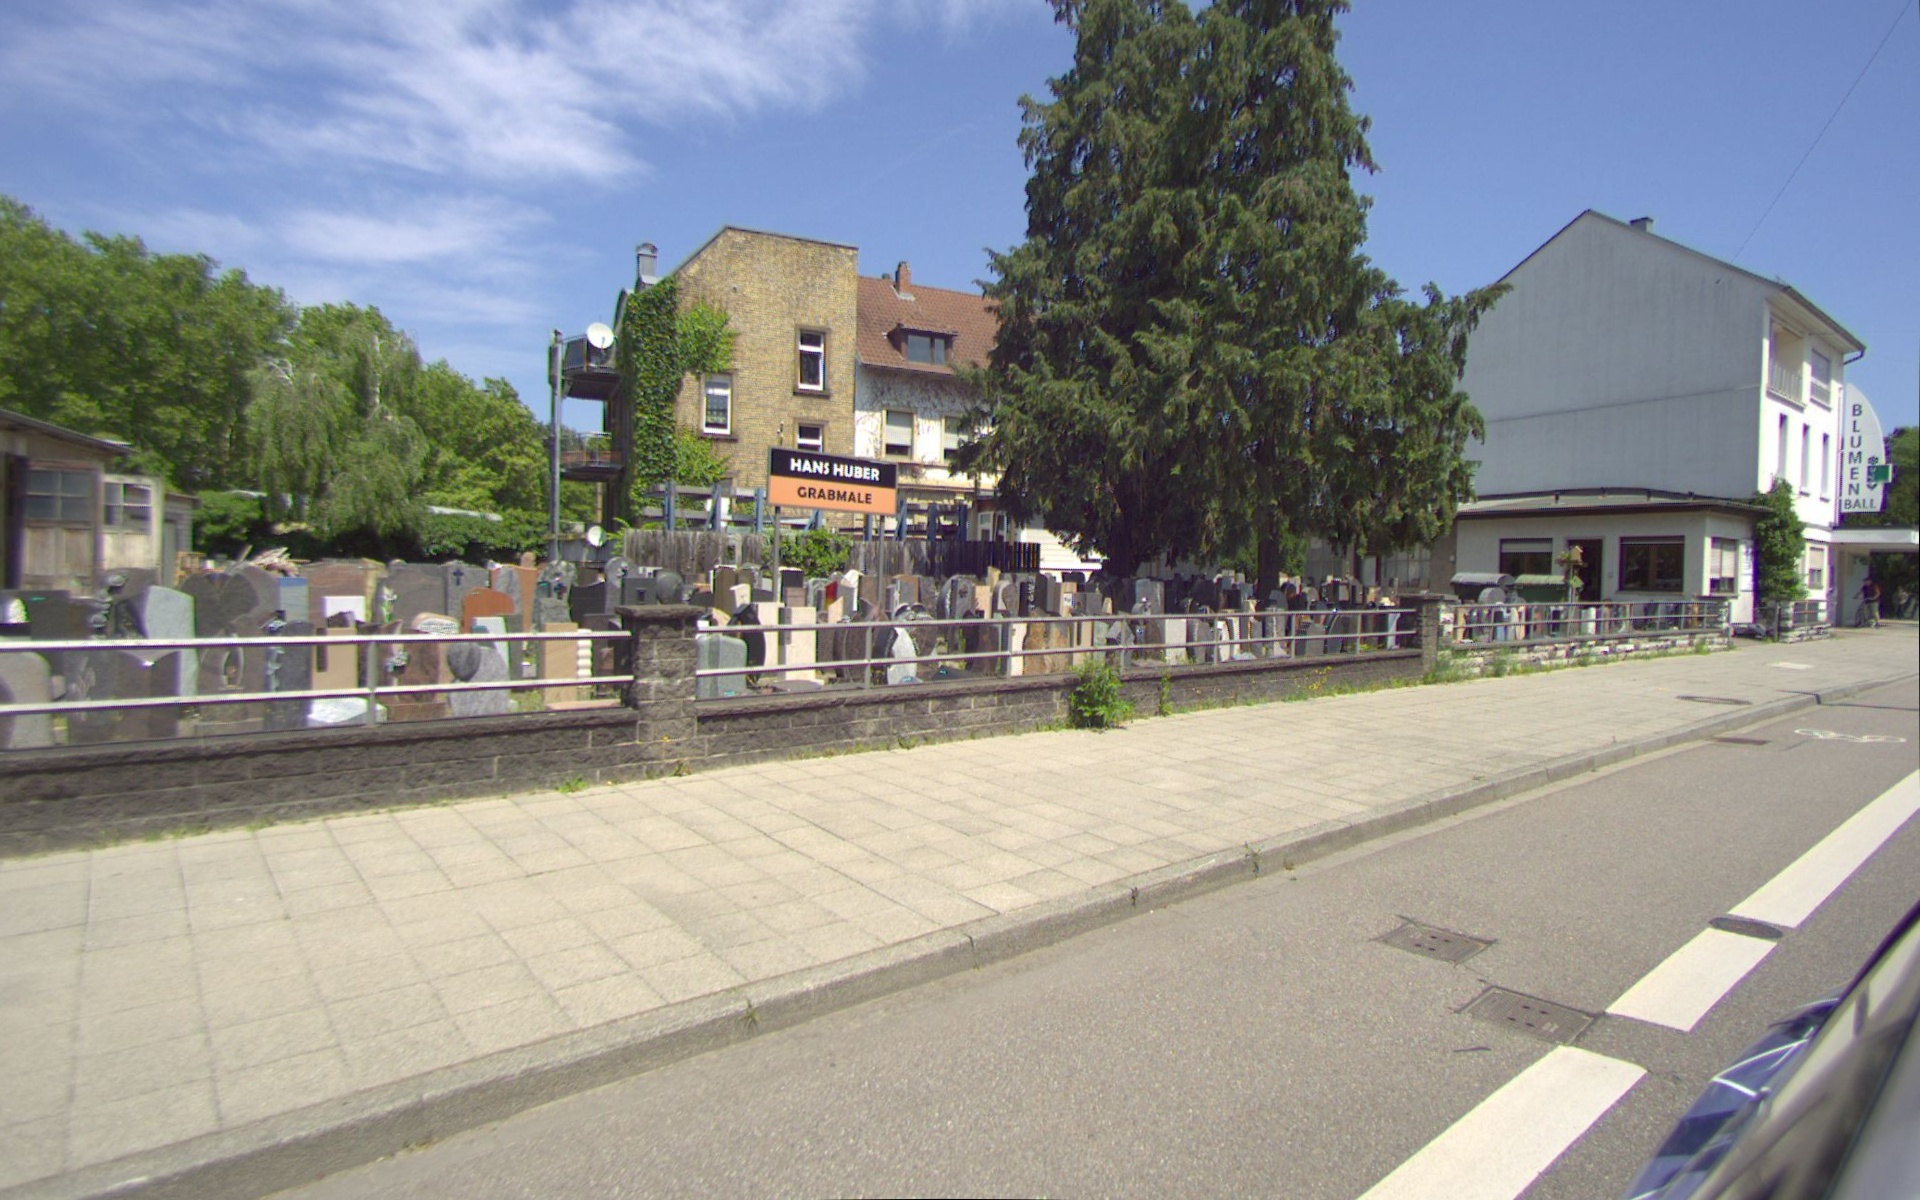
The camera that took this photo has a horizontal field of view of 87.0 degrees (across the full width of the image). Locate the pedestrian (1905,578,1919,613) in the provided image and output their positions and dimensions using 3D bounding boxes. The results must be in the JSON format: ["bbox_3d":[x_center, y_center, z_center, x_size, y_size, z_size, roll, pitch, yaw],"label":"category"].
[{"bbox_3d":[44.412,-0.205,47.146,0.533,1.618,0.420,0,0,39],"label":"pedestrian"}]

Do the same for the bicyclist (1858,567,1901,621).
[{"bbox_3d":[33.127,-0.226,36.464,0.870,1.897,0.793,1,3,-31],"label":"bicyclist"}]

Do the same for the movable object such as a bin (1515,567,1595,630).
[{"bbox_3d":[14.818,-0.050,25.215,1.130,1.499,1.391,0,2,-38],"label":"movable object such as a bin"}]

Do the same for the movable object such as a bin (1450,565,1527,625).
[{"bbox_3d":[13.828,-0.143,26.506,1.129,1.499,1.392,0,1,-35],"label":"movable object such as a bin"}]

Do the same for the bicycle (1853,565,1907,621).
[{"bbox_3d":[33.182,-0.243,36.489,1.919,1.923,0.802,1,3,-32],"label":"bicycle"}]
